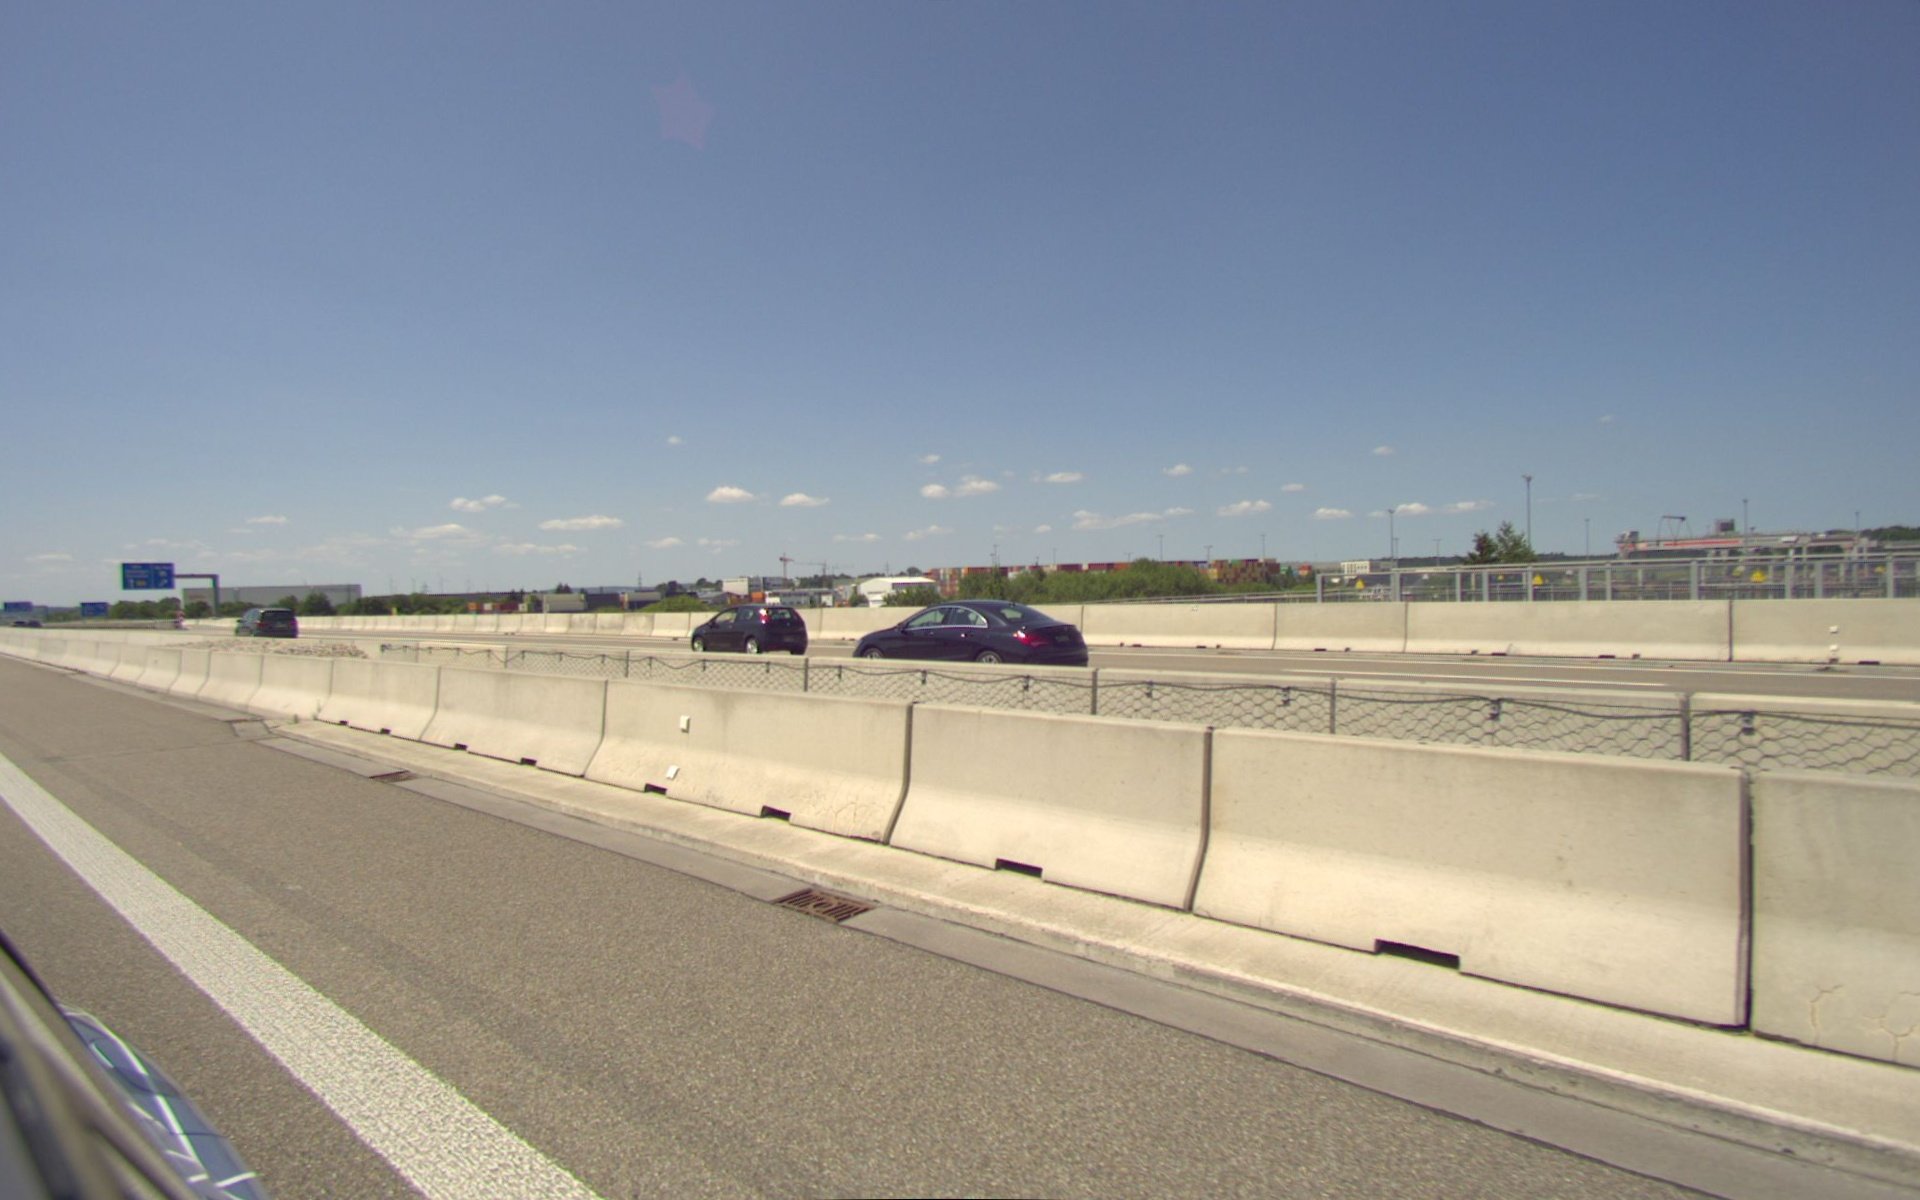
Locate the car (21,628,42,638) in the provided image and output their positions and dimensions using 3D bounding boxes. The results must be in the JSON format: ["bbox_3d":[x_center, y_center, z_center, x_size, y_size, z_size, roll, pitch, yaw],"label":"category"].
[{"bbox_3d":[-139.732,5.026,152.256,4.549,1.431,1.890,-2,-1,43],"label":"car"}]

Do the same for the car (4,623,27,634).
[{"bbox_3d":[-124.317,3.785,133.240,4.908,1.431,1.891,-2,-1,43],"label":"car"}]

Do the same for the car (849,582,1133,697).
[{"bbox_3d":[0.404,0.612,17.125,4.649,1.681,1.972,-1,-1,43],"label":"car"}]

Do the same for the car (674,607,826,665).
[{"bbox_3d":[-5.847,0.963,27.912,4.282,1.470,1.890,-1,-1,41],"label":"car"}]

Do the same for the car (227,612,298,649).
[{"bbox_3d":[-34.243,1.463,49.623,5.015,1.699,1.864,-1,-1,43],"label":"car"}]
